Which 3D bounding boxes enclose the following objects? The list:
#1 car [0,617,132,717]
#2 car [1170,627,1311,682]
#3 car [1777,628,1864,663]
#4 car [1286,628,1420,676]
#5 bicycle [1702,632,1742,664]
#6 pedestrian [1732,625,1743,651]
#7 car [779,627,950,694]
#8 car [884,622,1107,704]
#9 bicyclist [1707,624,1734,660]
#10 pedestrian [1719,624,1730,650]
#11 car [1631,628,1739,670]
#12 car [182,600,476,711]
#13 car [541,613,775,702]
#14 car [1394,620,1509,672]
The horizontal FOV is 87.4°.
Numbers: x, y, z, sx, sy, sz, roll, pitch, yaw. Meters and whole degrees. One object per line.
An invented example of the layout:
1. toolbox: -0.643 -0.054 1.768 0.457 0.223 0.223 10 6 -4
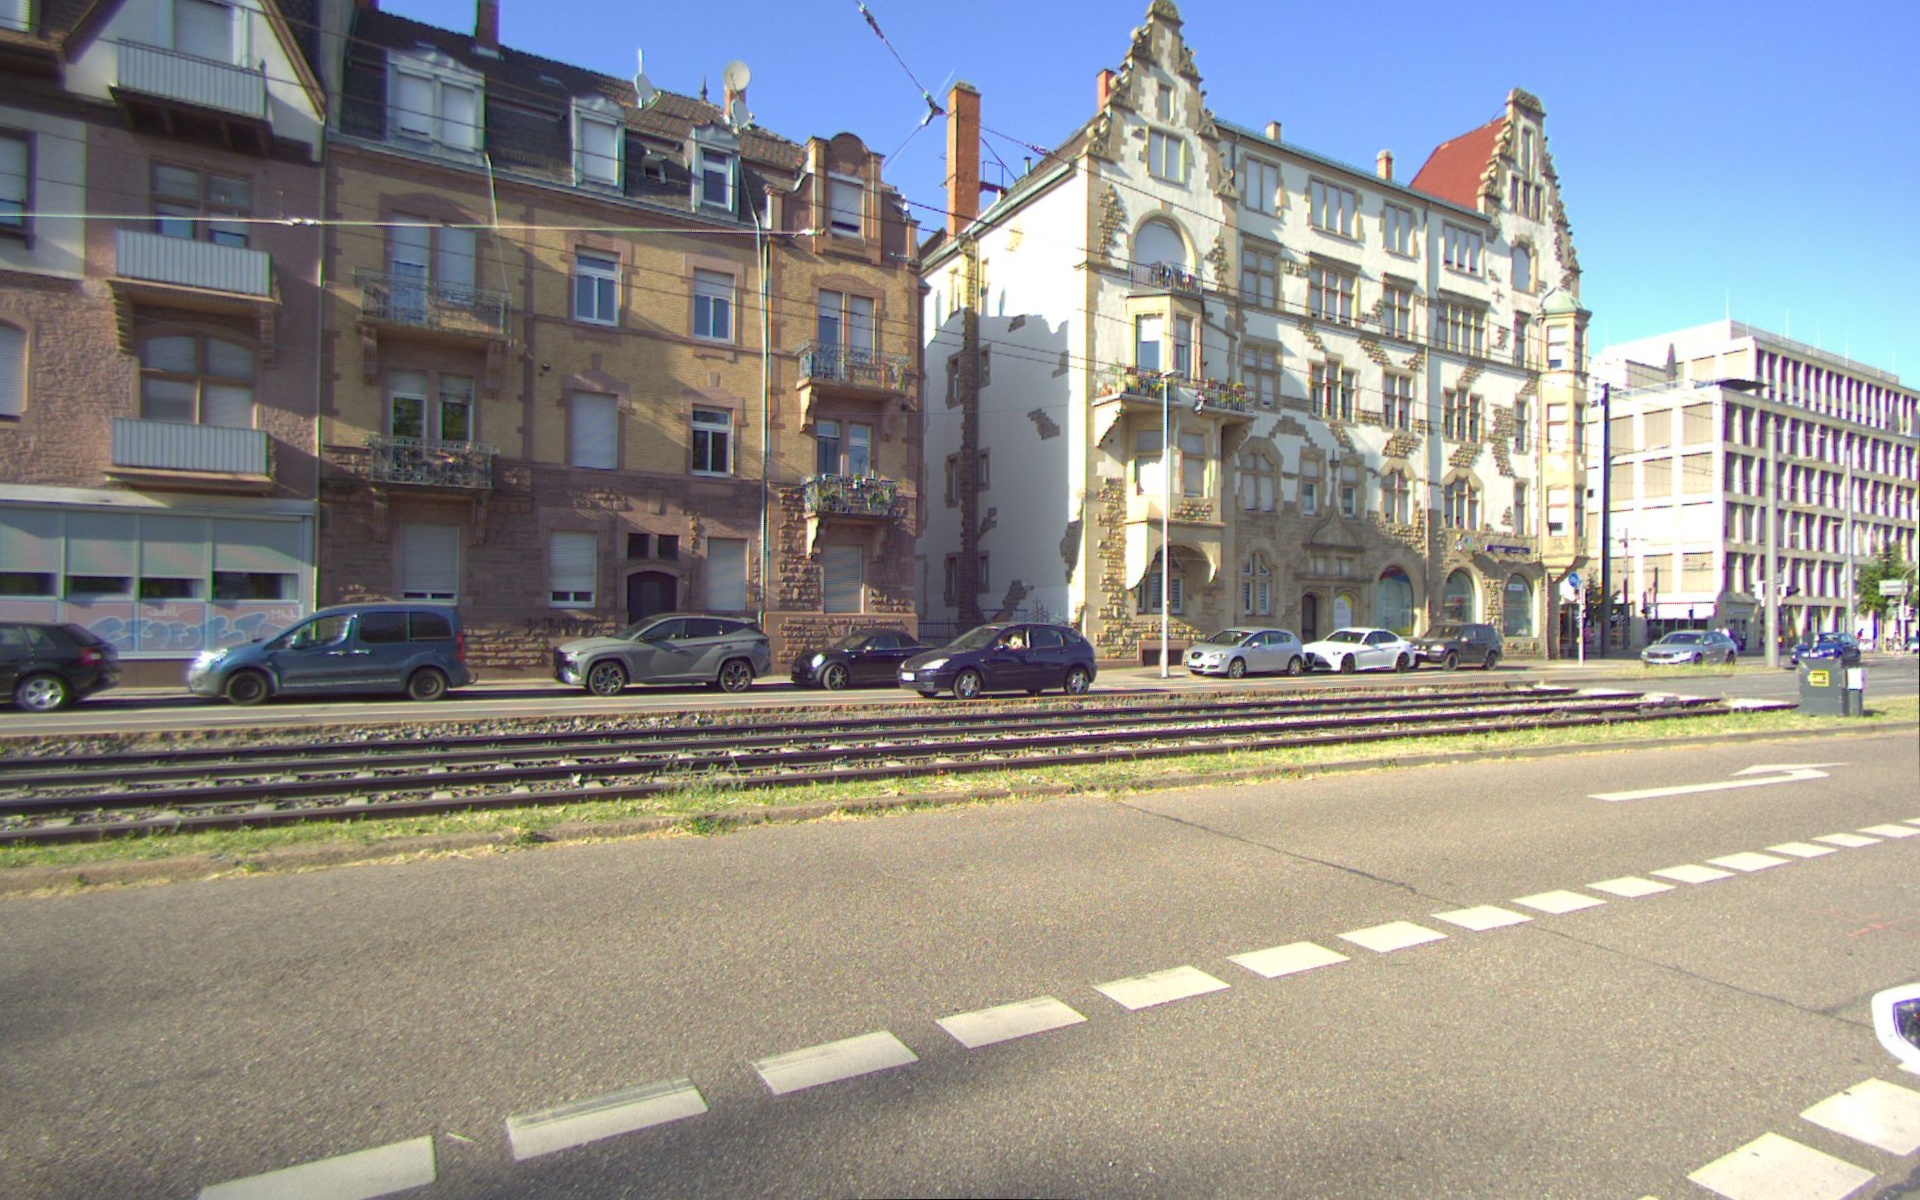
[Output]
1. car: -15.768 1.038 15.876 3.883 1.457 1.686 1 1 -31
2. car: 8.467 1.592 30.221 4.177 1.450 1.699 1 1 -33
3. car: 37.963 1.987 44.284 4.112 1.476 1.810 1 -2 -33
4. car: 13.015 1.674 33.210 4.604 1.442 1.707 1 1 -32
5. bicycle: 33.504 2.096 44.180 1.923 1.400 0.682 1 -2 -29
6. pedestrian: 55.721 2.724 71.961 0.522 1.868 0.443 0 -2 23
7. car: -2.249 1.386 23.801 3.683 1.373 1.614 1 1 -31
8. car: 0.741 1.194 19.921 4.118 1.476 1.811 1 -2 -31
9. bicyclist: 33.439 1.846 44.151 0.775 1.583 0.682 1 -2 -29
10. pedestrian: 55.049 2.659 72.327 0.464 1.868 0.443 0 -2 23
11. car: 27.409 1.823 37.928 4.491 1.476 1.810 1 -2 -33
12. car: -11.359 0.954 18.474 4.362 1.782 1.878 1 1 -28
13. car: -6.399 1.160 21.404 4.451 1.644 1.846 1 1 -31
14. car: 17.642 1.626 36.024 4.169 1.698 1.707 1 1 -32
